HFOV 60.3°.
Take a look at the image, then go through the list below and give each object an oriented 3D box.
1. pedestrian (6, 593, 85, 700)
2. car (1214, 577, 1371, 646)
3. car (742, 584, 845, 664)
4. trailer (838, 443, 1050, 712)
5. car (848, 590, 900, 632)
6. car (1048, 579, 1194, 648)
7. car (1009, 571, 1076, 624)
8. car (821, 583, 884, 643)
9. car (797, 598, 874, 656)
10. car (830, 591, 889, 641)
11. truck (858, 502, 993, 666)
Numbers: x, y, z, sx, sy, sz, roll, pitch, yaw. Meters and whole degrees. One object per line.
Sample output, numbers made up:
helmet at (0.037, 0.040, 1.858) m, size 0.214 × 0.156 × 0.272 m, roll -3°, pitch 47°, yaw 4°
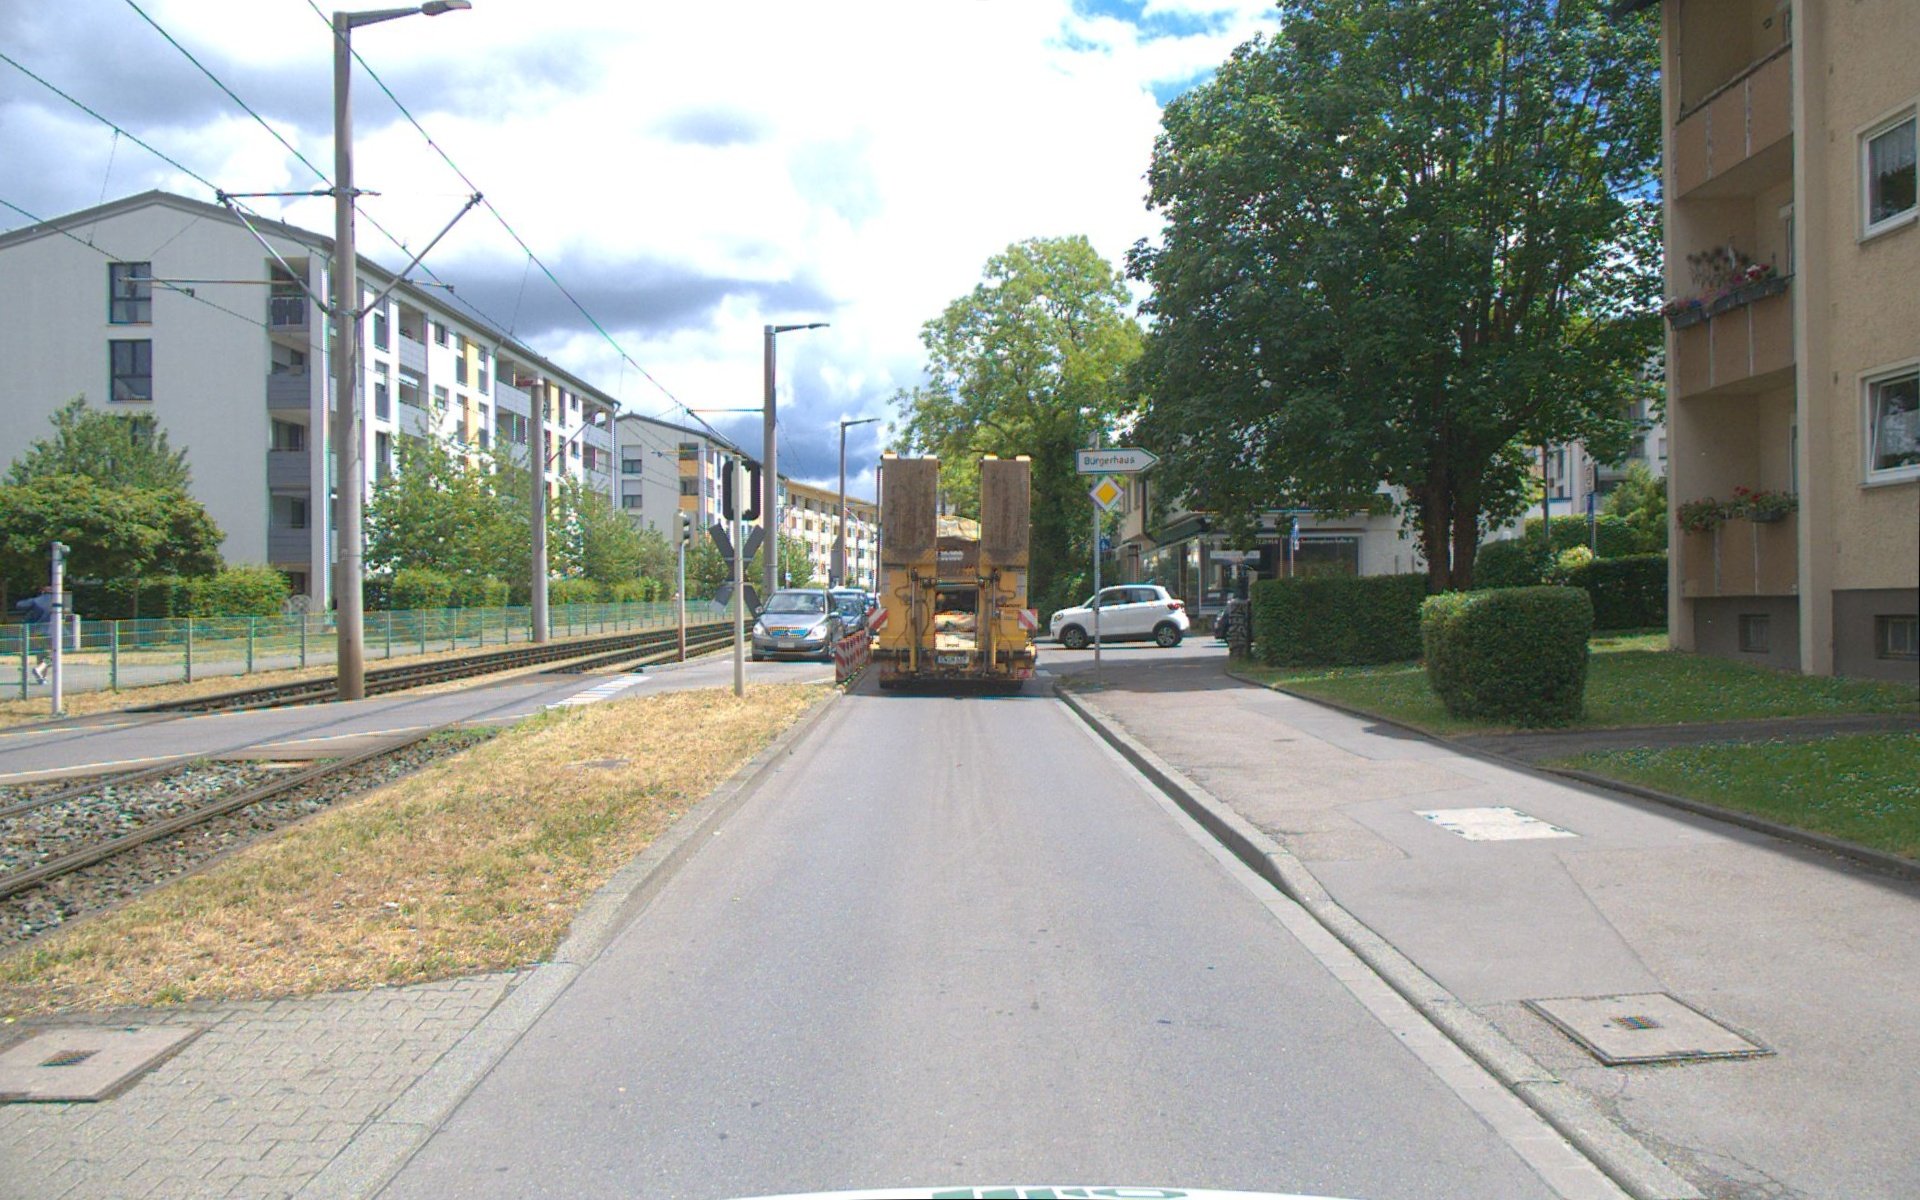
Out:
pedestrian at (-15.078, 0.752, 27.296) m, size 0.734 × 1.690 × 0.870 m, roll -2°, pitch 1°, yaw 3°
car at (8.251, 0.277, 40.960) m, size 3.619 × 1.549 × 2.002 m, roll -2°, pitch 1°, yaw 16°
car at (-3.744, 0.526, 37.794) m, size 1.765 × 1.681 × 4.132 m, roll -2°, pitch 0°, yaw 2°
trailer at (-0.555, -0.462, 30.039) m, size 2.990 × 3.838 × 11.606 m, roll -2°, pitch 1°, yaw -3°
car at (-3.504, 0.436, 68.131) m, size 1.953 × 1.546 × 3.890 m, roll -2°, pitch 1°, yaw -1°
car at (4.152, 0.344, 42.387) m, size 3.521 × 1.612 × 2.002 m, roll -2°, pitch 0°, yaw 11°
car at (2.781, -0.117, 56.562) m, size 1.953 × 1.646 × 3.999 m, roll -2°, pitch 1°, yaw -1°
car at (-3.370, 0.398, 52.344) m, size 1.568 × 1.762 × 3.939 m, roll -2°, pitch 0°, yaw 2°
car at (-3.233, 0.700, 43.574) m, size 1.568 × 1.405 × 3.957 m, roll -2°, pitch 0°, yaw 2°
car at (-3.635, 0.554, 60.502) m, size 1.953 × 1.621 × 3.890 m, roll -2°, pitch 1°, yaw -1°
truck at (-0.949, -0.431, 39.202) m, size 2.777 × 3.388 × 7.980 m, roll -2°, pitch 1°, yaw -3°
